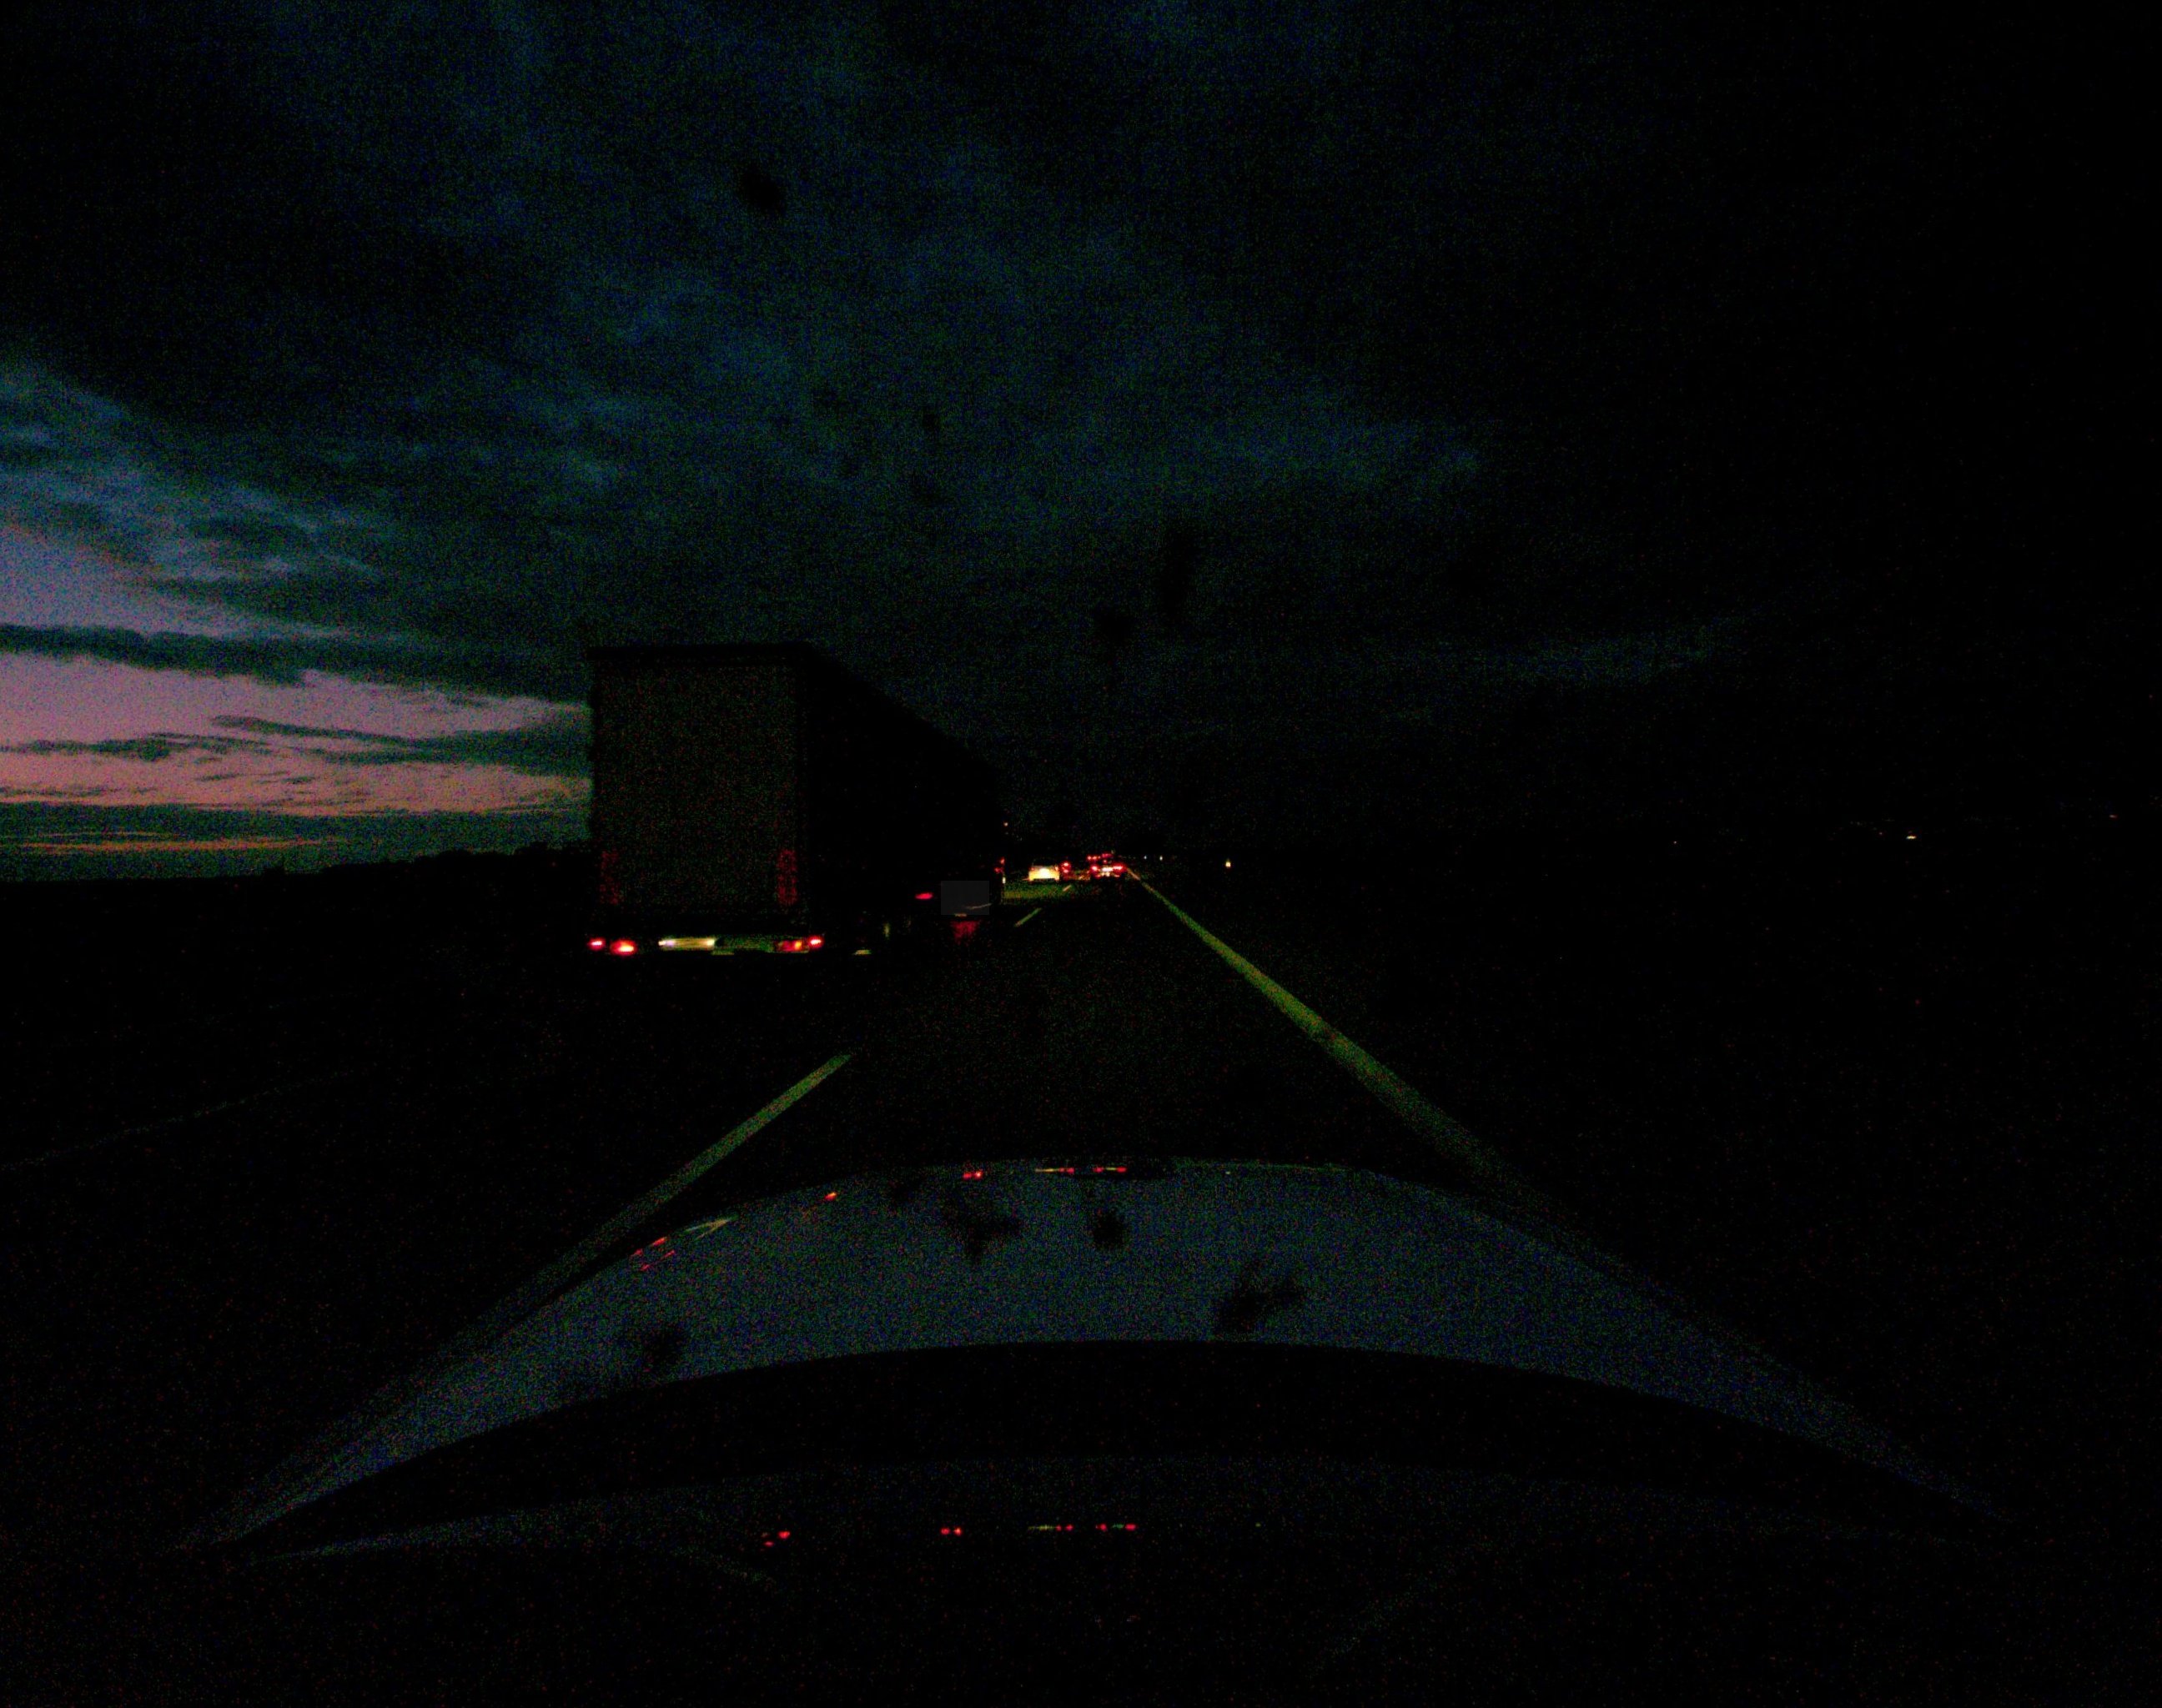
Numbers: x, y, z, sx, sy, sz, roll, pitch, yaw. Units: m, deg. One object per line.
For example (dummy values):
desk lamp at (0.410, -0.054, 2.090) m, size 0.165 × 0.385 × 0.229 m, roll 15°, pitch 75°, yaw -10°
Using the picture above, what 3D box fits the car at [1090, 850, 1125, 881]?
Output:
car at (1.472, 0.628, 45.418) m, size 1.873 × 1.643 × 4.002 m, roll 0°, pitch -1°, yaw 2°

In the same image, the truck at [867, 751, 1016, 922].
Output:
truck at (-3.668, -0.399, 22.950) m, size 2.766 × 4.093 × 6.107 m, roll -2°, pitch -1°, yaw 3°

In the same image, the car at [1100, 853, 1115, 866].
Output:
car at (3.419, 0.699, 104.373) m, size 1.873 × 1.552 × 4.001 m, roll 0°, pitch -1°, yaw 1°

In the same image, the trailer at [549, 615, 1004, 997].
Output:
trailer at (-4.029, -0.453, 16.127) m, size 2.782 × 4.085 × 14.535 m, roll -2°, pitch -1°, yaw 3°

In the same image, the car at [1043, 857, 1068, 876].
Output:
car at (-2.000, 0.989, 65.971) m, size 1.716 × 1.471 × 4.727 m, roll 0°, pitch -1°, yaw 2°

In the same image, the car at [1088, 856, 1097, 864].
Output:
car at (2.476, 1.329, 174.917) m, size 1.873 × 1.552 × 4.001 m, roll 0°, pitch -1°, yaw 1°

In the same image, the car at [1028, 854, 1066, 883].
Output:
car at (-1.840, 0.807, 45.538) m, size 1.737 × 1.525 × 4.417 m, roll 0°, pitch -1°, yaw 2°
